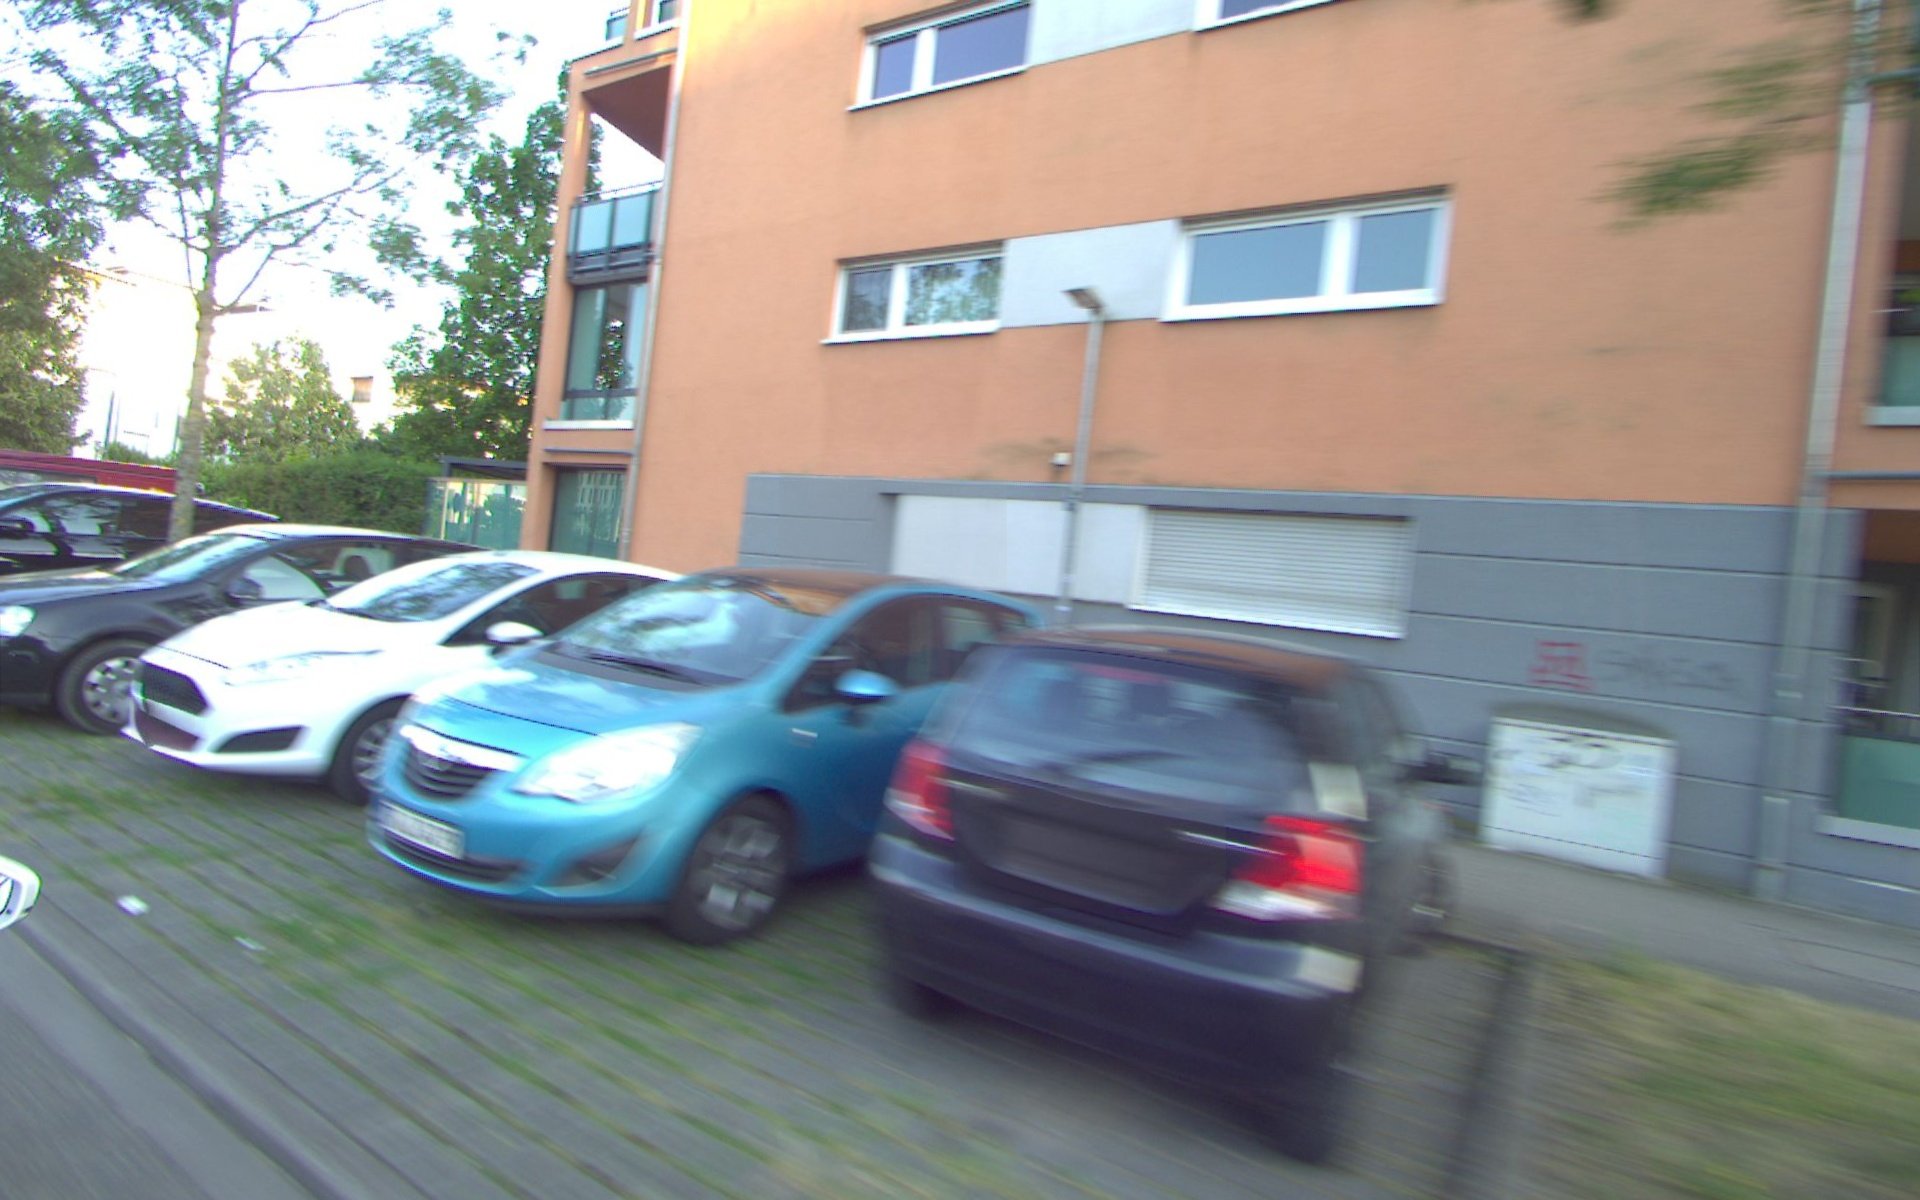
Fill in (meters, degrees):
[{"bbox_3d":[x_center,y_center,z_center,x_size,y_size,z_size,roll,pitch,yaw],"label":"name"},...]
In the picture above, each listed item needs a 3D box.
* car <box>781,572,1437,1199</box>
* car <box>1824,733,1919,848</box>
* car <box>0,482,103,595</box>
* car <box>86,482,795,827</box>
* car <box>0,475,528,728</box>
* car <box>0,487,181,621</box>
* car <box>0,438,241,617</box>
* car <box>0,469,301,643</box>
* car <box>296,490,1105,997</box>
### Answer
[{"bbox_3d":[1.079,0.879,4.490,1.585,1.491,3.758,7,-1,28],"label":"car"},{"bbox_3d":[17.139,3.334,15.919,4.728,1.614,1.999,7,0,24],"label":"car"},{"bbox_3d":[-15.641,-1.140,14.451,1.782,1.575,4.674,7,-1,33],"label":"car"},{"bbox_3d":[-3.100,0.368,6.812,1.594,1.587,3.881,7,-1,33],"label":"car"},{"bbox_3d":[-5.556,0.080,7.770,1.514,1.513,3.778,6,-1,32],"label":"car"},{"bbox_3d":[-11.654,-0.626,11.856,1.589,1.484,3.526,7,1,33],"label":"car"},{"bbox_3d":[-13.184,-1.091,13.779,1.985,2.142,4.924,7,-1,34],"label":"car"},{"bbox_3d":[-9.488,-0.485,10.261,1.763,1.589,4.217,7,1,33],"label":"car"},{"bbox_3d":[-0.898,0.534,5.396,1.646,1.589,4.052,7,1,33],"label":"car"}]
